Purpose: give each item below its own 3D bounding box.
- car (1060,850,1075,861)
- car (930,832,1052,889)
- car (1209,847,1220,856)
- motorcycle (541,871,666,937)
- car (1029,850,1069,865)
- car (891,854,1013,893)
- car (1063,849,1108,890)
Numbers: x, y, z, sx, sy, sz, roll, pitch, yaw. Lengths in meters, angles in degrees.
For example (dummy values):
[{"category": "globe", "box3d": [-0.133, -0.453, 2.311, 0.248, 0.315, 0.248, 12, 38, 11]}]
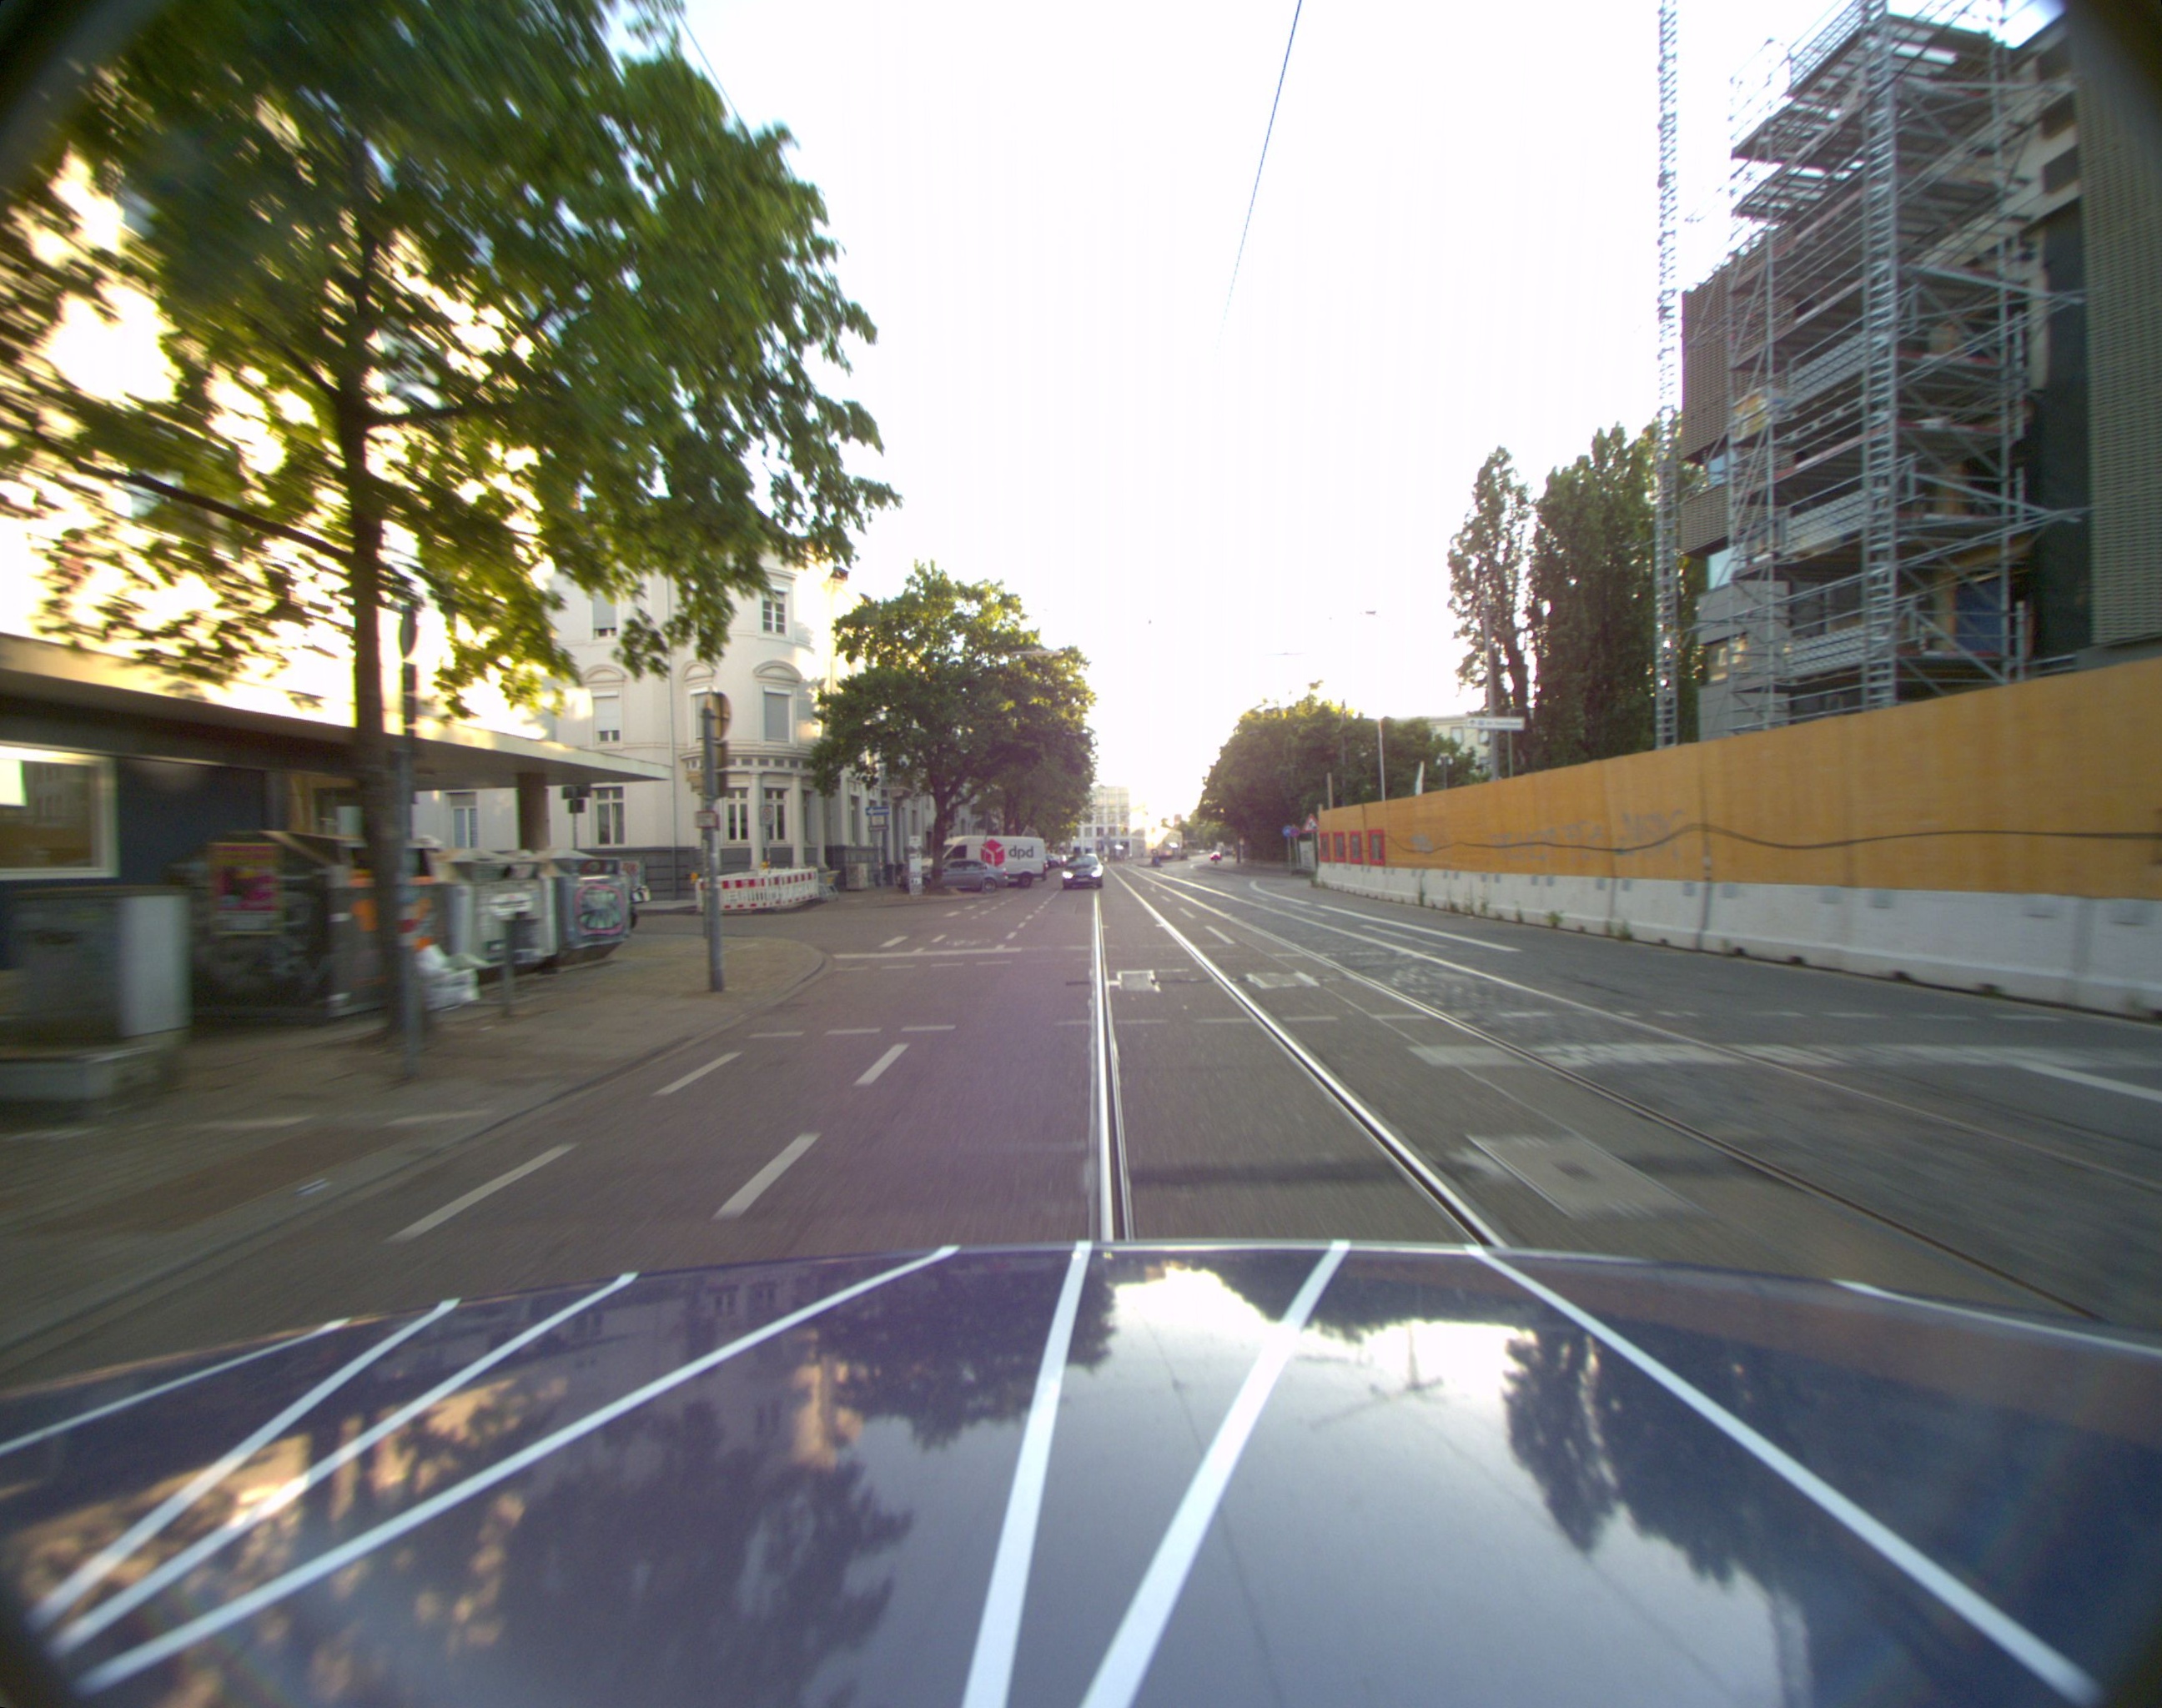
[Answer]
[{"category": "car", "box3d": [-1.977, 0.248, 113.681, 1.741, 1.600, 3.823, -1, 0, 6]}, {"category": "car", "box3d": [-4.441, 0.271, 37.996, 5.650, 2.678, 2.166, -1, 0, -33]}, {"category": "car", "box3d": [25.346, -0.450, 144.083, 1.997, 1.674, 4.003, -1, 0, 11]}, {"category": "motorcycle", "box3d": [-11.133, 1.154, 17.788, 2.095, 1.397, 1.290, -1, 1, 8]}, {"category": "car", "box3d": [-3.642, 0.431, 86.423, 4.217, 1.600, 1.739, -1, 1, -28]}, {"category": "car", "box3d": [-5.327, 0.806, 31.451, 4.614, 1.504, 1.859, 1, -1, -25]}, {"category": "car", "box3d": [0.239, 0.669, 35.278, 1.840, 1.631, 4.169, -5, 0, 1]}]
